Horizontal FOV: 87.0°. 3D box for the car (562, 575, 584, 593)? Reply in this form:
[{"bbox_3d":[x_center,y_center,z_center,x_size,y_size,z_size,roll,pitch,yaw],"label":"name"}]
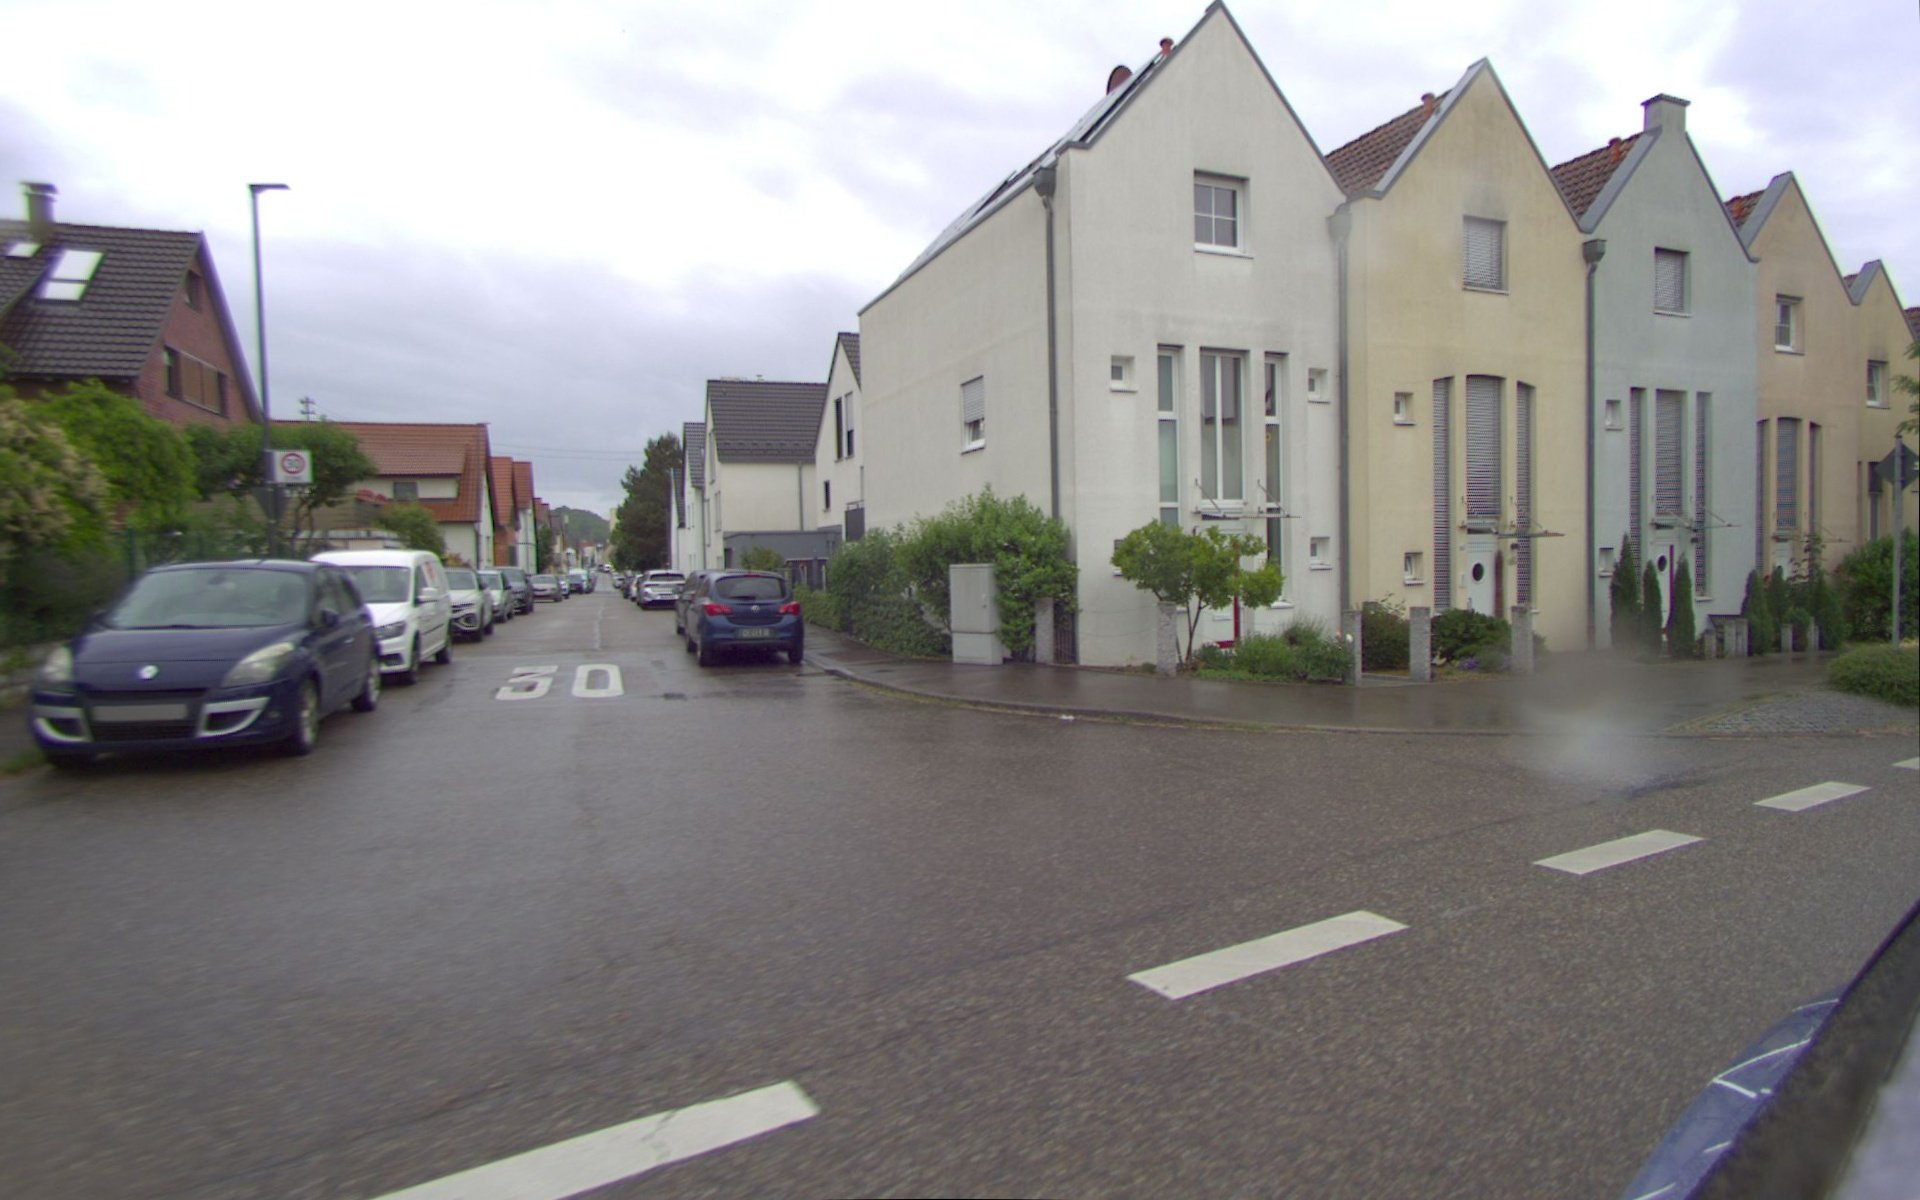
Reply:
[{"bbox_3d":[-33.474,-1.417,87.567,1.709,1.527,3.952,-1,1,-20],"label":"car"}]

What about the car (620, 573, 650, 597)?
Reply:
[{"bbox_3d":[-21.731,-1.023,67.555,1.709,1.527,3.952,-1,1,-20],"label":"car"}]

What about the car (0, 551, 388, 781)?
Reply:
[{"bbox_3d":[-6.661,0.402,9.280,1.825,1.605,4.154,-1,1,-21],"label":"car"}]

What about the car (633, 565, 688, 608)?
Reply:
[{"bbox_3d":[-11.255,-0.521,37.901,1.709,1.527,3.952,-1,1,-20],"label":"car"}]

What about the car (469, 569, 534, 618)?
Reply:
[{"bbox_3d":[-15.401,-0.250,34.160,1.709,1.527,3.952,-1,1,-20],"label":"car"}]

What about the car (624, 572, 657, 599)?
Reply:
[{"bbox_3d":[-19.314,-0.884,61.079,1.709,1.527,3.952,-1,1,-20],"label":"car"}]

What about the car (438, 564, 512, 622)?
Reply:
[{"bbox_3d":[-13.720,-0.235,28.763,1.632,1.527,3.419,-1,1,-21],"label":"car"}]

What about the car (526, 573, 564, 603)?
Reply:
[{"bbox_3d":[-22.113,-0.683,53.975,1.709,1.527,3.952,-1,1,-20],"label":"car"}]

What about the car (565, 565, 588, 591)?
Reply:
[{"bbox_3d":[-37.534,-2.139,99.090,1.979,2.471,4.716,-1,1,-20],"label":"car"}]

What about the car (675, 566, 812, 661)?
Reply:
[{"bbox_3d":[-3.795,0.152,17.296,1.766,1.424,3.743,-1,1,-20],"label":"car"}]

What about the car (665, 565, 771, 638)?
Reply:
[{"bbox_3d":[-5.302,-0.023,21.845,1.755,1.417,3.722,-1,1,-21],"label":"car"}]

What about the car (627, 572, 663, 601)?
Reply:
[{"bbox_3d":[-17.350,-0.766,55.637,1.709,1.527,3.952,-1,1,-20],"label":"car"}]

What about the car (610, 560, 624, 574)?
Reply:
[{"bbox_3d":[-52.700,-5.033,155.620,1.854,2.038,4.010,1,1,-18],"label":"car"}]

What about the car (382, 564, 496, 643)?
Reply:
[{"bbox_3d":[-11.075,0.019,21.757,1.709,1.527,3.952,-1,1,-20],"label":"car"}]

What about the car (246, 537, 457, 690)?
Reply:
[{"bbox_3d":[-8.517,0.098,14.606,1.766,1.826,4.710,-1,1,-21],"label":"car"}]

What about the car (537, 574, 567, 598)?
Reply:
[{"bbox_3d":[-26.946,-0.962,66.905,1.709,1.527,3.952,-1,1,-20],"label":"car"}]

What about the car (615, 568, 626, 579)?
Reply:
[{"bbox_3d":[-62.846,-4.888,187.267,1.854,2.038,4.010,1,1,-18],"label":"car"}]
